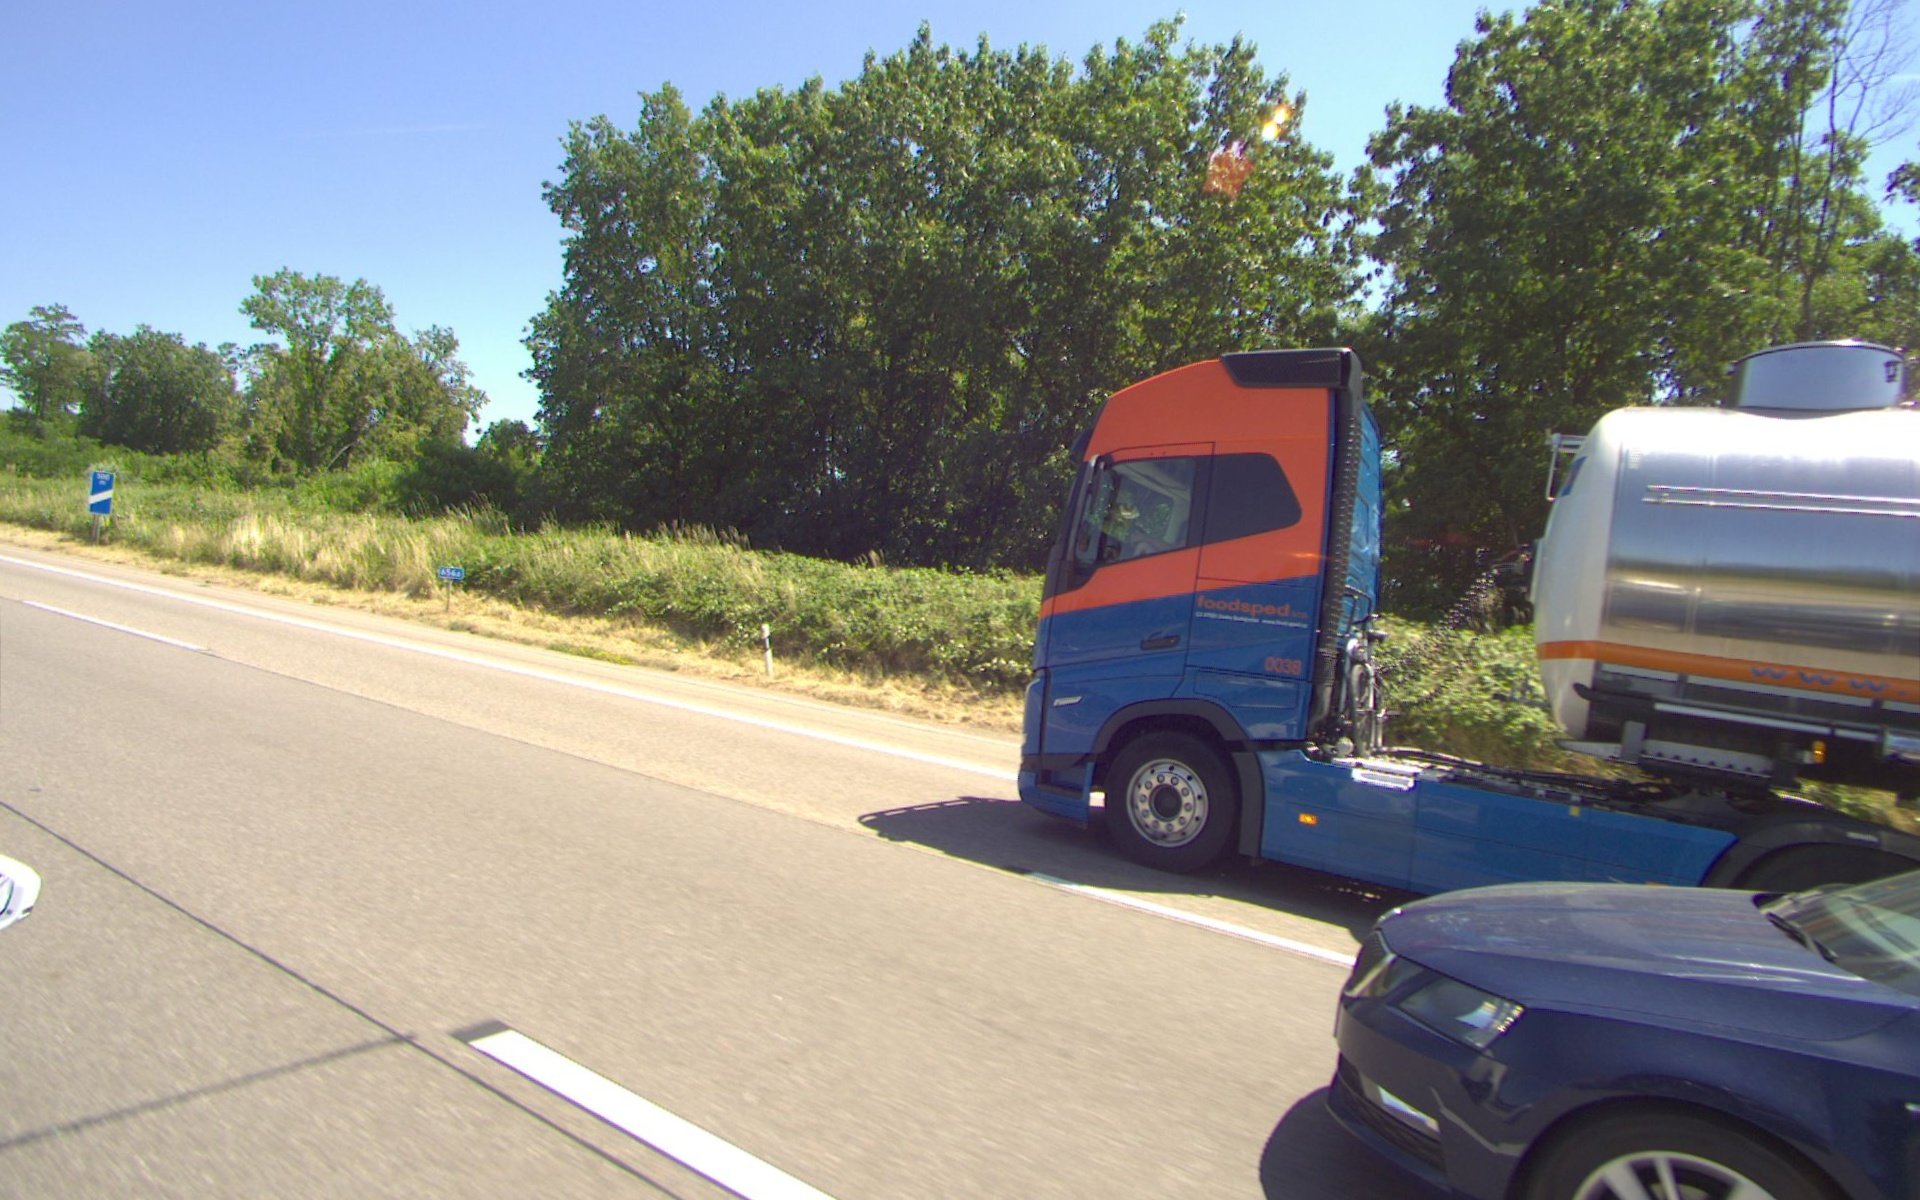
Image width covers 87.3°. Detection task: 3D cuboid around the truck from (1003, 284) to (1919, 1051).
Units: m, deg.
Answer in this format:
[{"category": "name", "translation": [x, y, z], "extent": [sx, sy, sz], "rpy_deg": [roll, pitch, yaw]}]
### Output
[{"category": "truck", "translation": [3.733, 0.232, 7.096], "extent": [5.998, 3.777, 2.534], "rpy_deg": [7, -1, 32]}]

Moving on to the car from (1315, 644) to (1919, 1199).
[{"category": "car", "translation": [3.213, 1.149, 2.234], "extent": [4.200, 1.500, 1.805], "rpy_deg": [7, -2, 31]}]

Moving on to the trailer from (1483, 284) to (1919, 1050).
[{"category": "trailer", "translation": [8.726, 0.799, 3.978], "extent": [11.357, 3.777, 2.534], "rpy_deg": [7, -1, 32]}]
